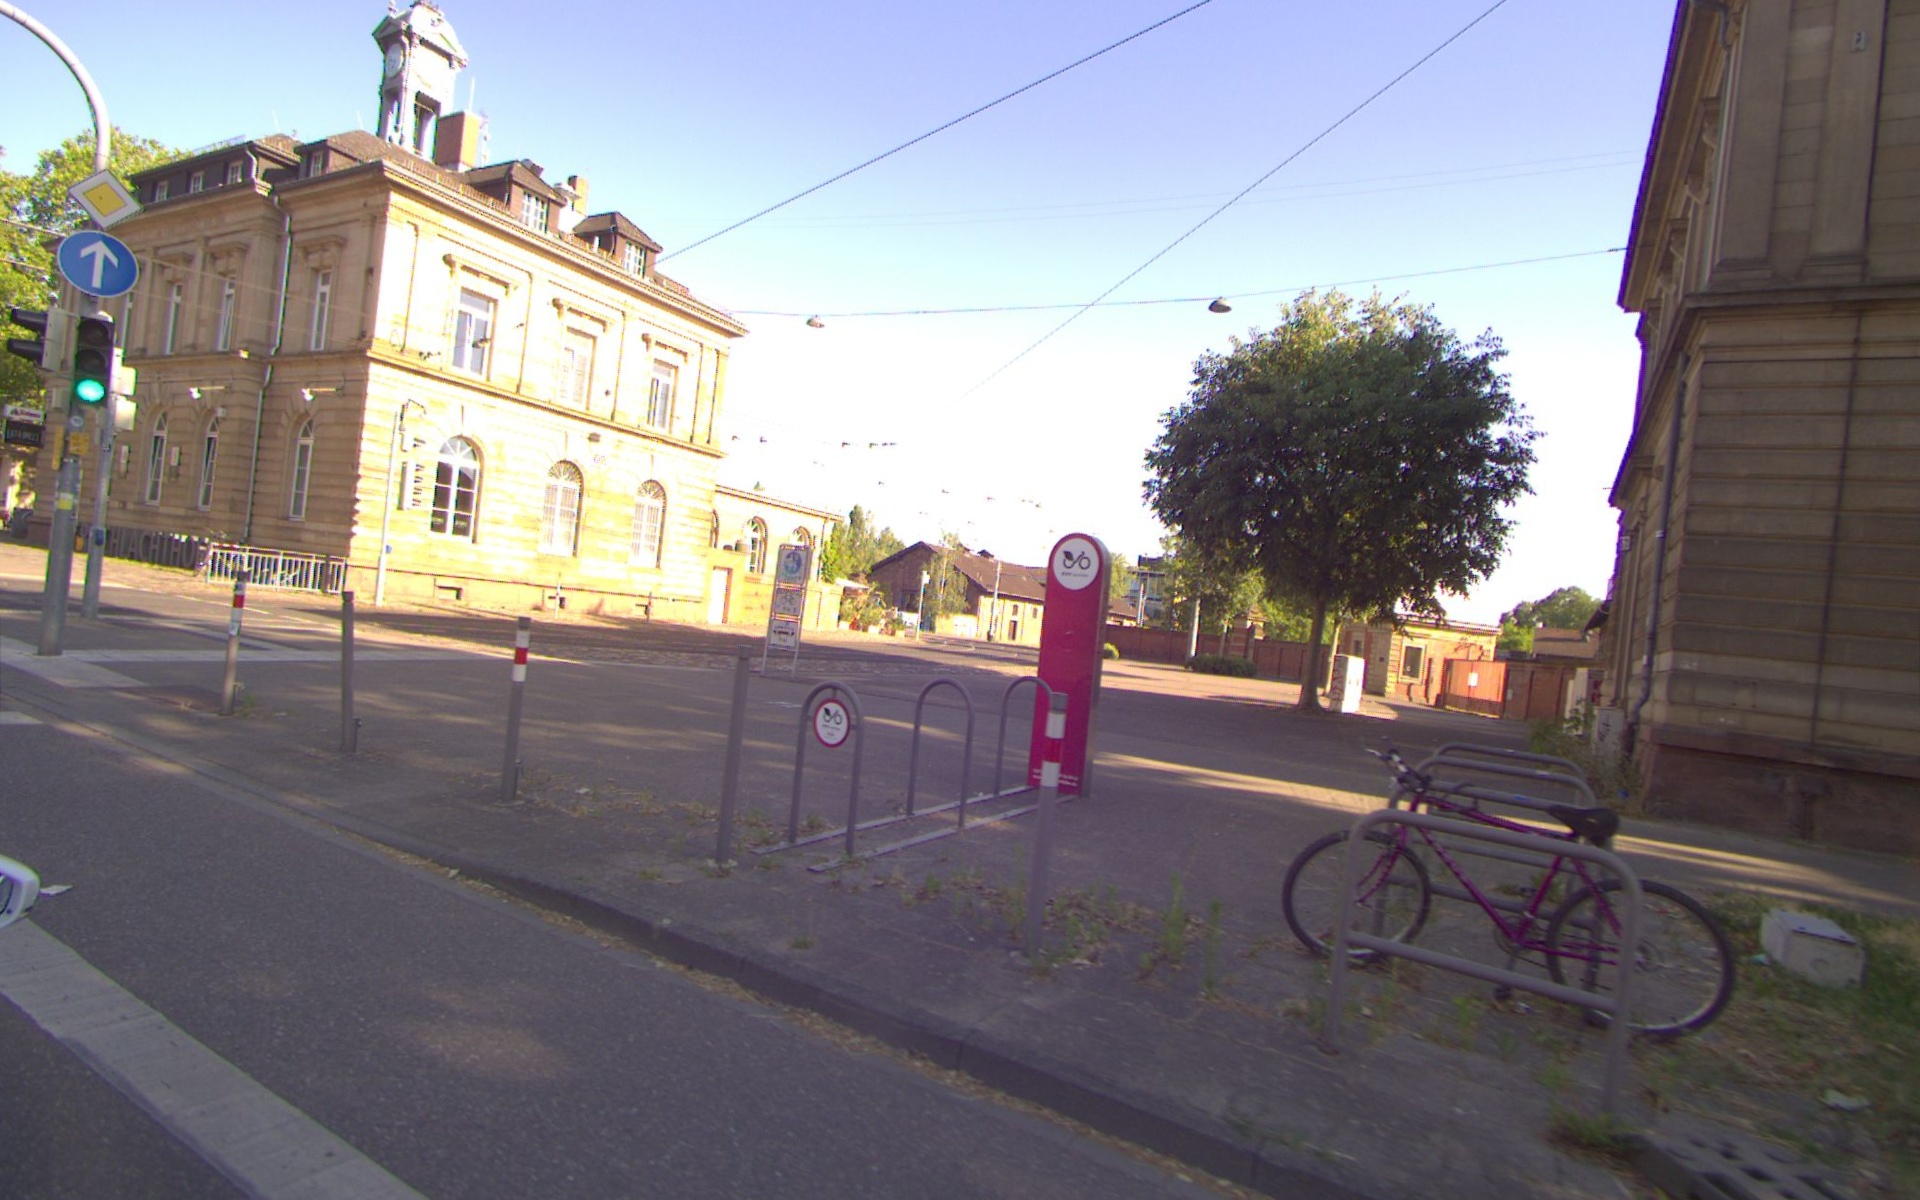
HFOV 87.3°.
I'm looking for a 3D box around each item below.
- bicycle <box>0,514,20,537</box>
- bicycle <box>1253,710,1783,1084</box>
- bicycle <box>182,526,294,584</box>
[{"bbox_3d":[-48.189,-3.778,50.746,2.194,1.060,0.526,6,0,32],"label":"bicycle"},{"bbox_3d":[2.228,1.131,4.234,1.740,1.075,0.541,6,0,27],"label":"bicycle"},{"bbox_3d":[-18.371,-1.118,25.653,0.752,1.225,2.140,6,0,29],"label":"bicycle"}]
